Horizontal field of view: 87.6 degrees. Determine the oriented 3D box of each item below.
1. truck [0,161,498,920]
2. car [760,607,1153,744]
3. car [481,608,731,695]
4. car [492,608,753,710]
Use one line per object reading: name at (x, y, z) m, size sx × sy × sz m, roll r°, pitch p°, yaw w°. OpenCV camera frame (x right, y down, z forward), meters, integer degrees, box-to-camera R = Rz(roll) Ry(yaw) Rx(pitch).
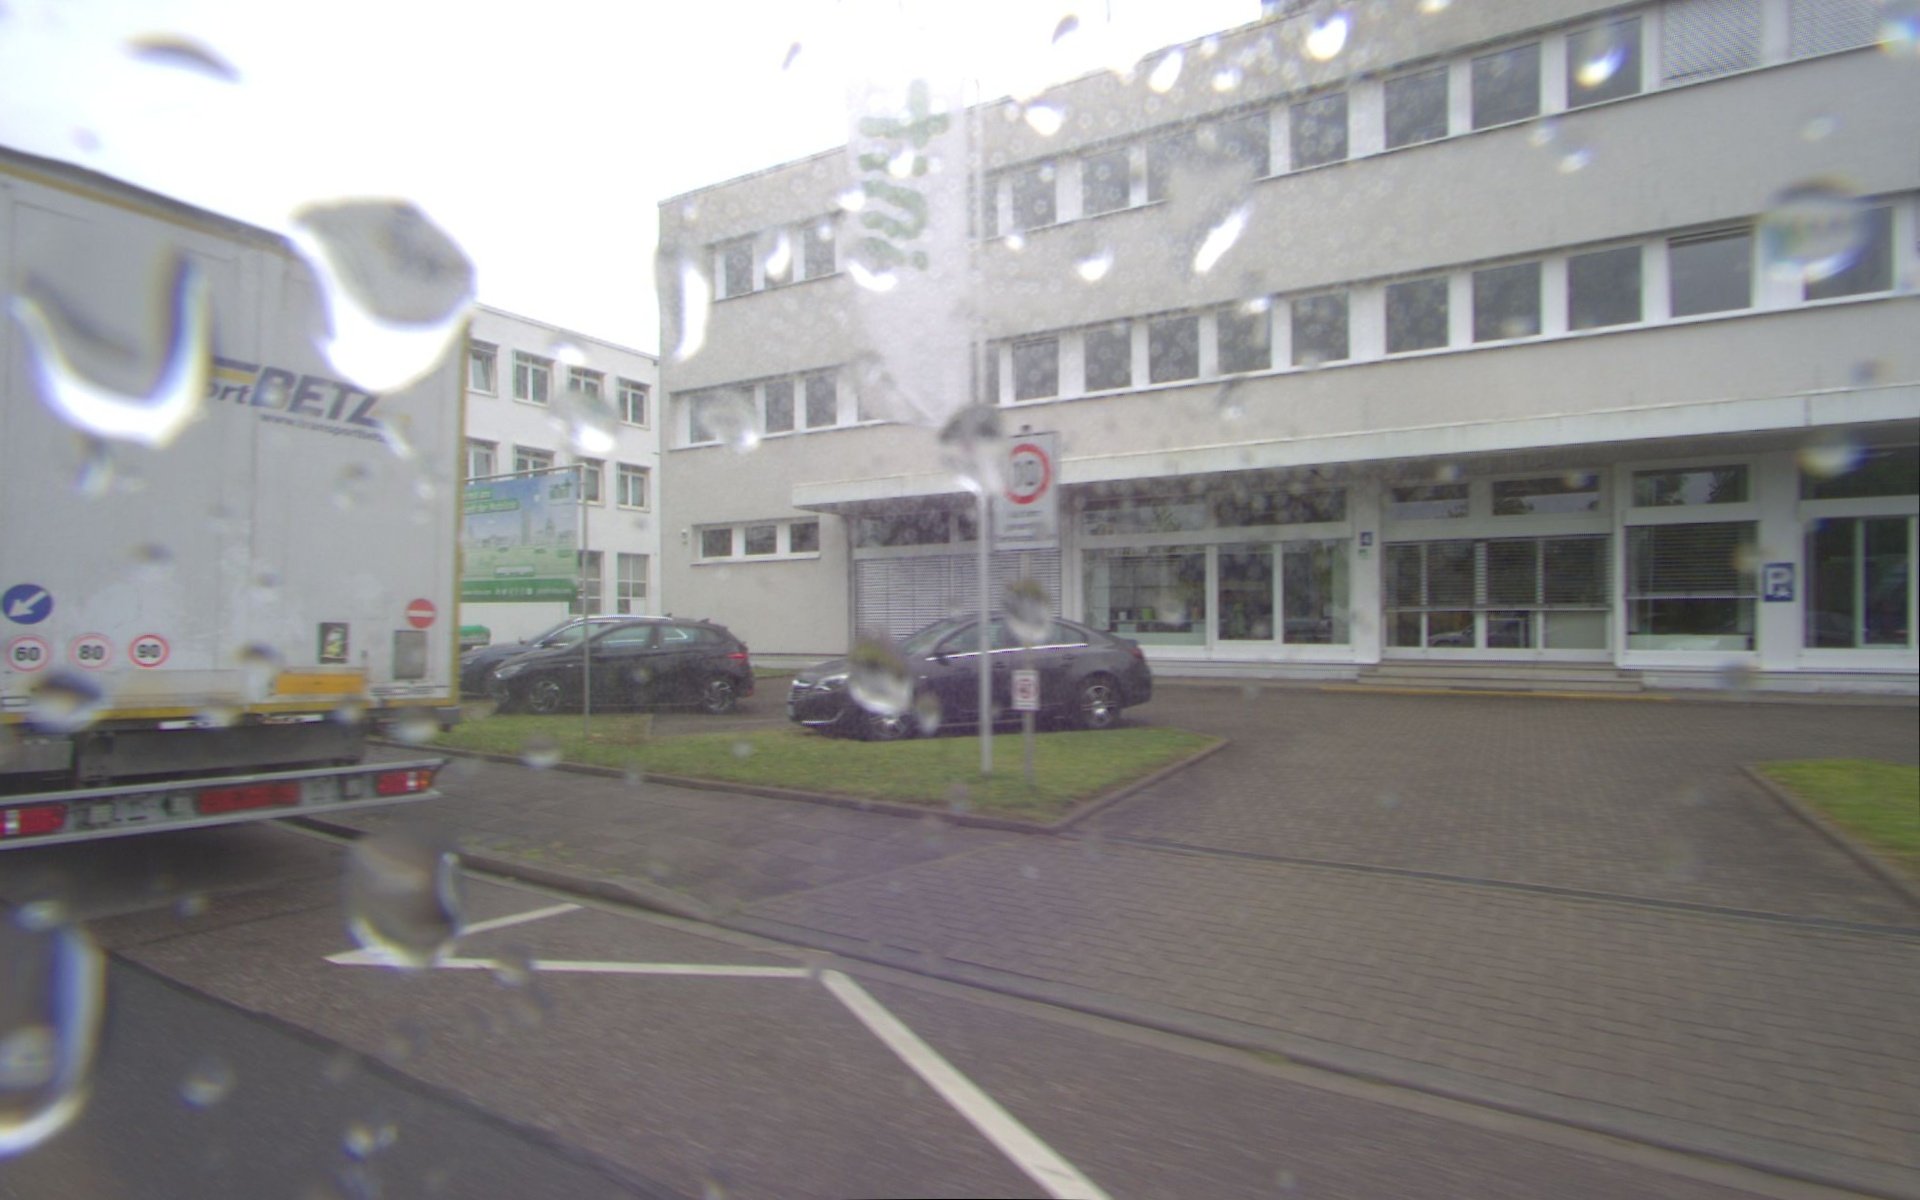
truck at (-7.127, -0.167, 7.953) m, size 7.646 × 3.655 × 2.735 m, roll -1°, pitch -3°, yaw 35°
car at (-0.042, 0.839, 12.552) m, size 4.598 × 1.487 × 1.786 m, roll 0°, pitch -1°, yaw -21°
car at (-6.336, 0.925, 18.222) m, size 4.079 × 1.434 × 1.686 m, roll 2°, pitch 1°, yaw -19°
car at (-5.331, 0.944, 16.061) m, size 3.717 × 1.414 × 1.723 m, roll 3°, pitch -2°, yaw -19°
